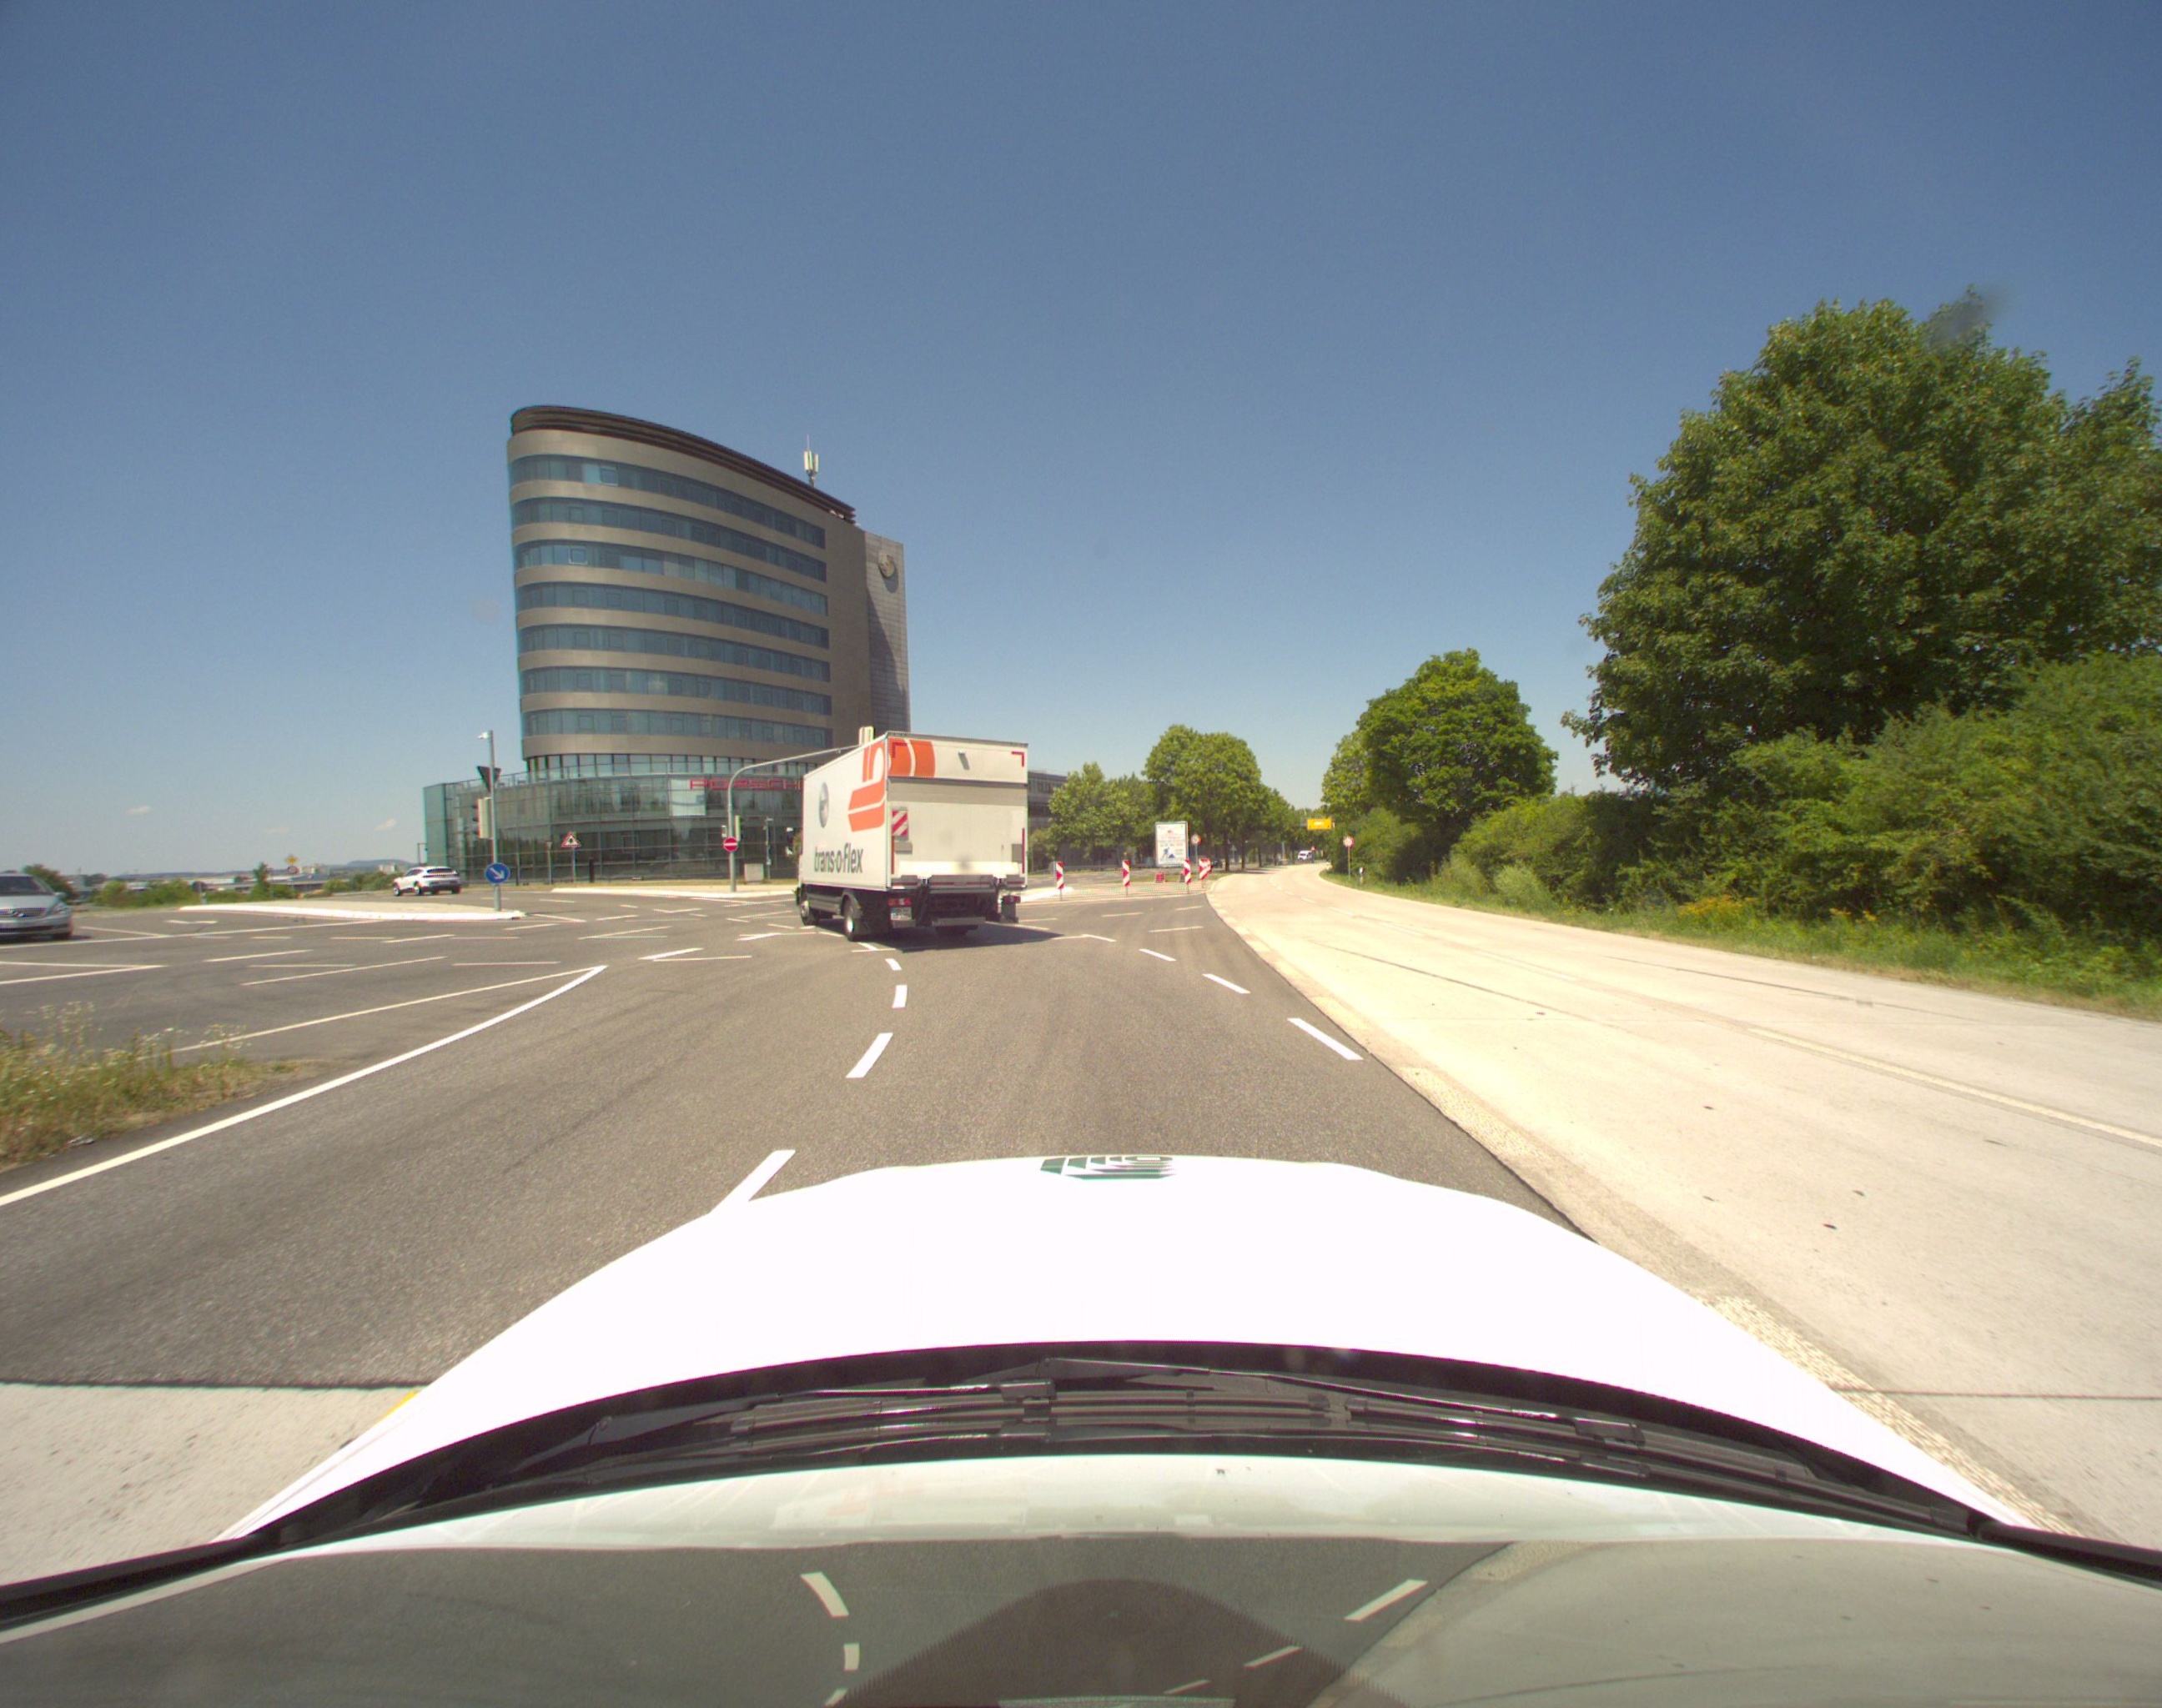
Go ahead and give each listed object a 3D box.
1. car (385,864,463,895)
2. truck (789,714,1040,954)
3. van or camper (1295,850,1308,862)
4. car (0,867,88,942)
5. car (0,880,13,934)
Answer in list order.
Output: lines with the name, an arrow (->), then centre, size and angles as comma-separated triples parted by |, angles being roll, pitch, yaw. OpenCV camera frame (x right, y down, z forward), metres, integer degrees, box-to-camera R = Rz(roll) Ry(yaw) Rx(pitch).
car -> -34.486, 1.306, 42.737 | 3.949, 1.557, 1.819 | -1, -1, 29
truck -> -4.169, -0.280, 17.809 | 2.786, 3.860, 9.283 | -1, 0, -28
van or camper -> 49.774, 0.509, 183.881 | 1.975, 2.682, 4.024 | -1, -1, 29
car -> -24.868, 1.192, 18.604 | 4.275, 1.595, 1.787 | -3, -2, 25
car -> -31.649, 1.552, 22.862 | 4.273, 1.456, 1.708 | -3, -2, 33
